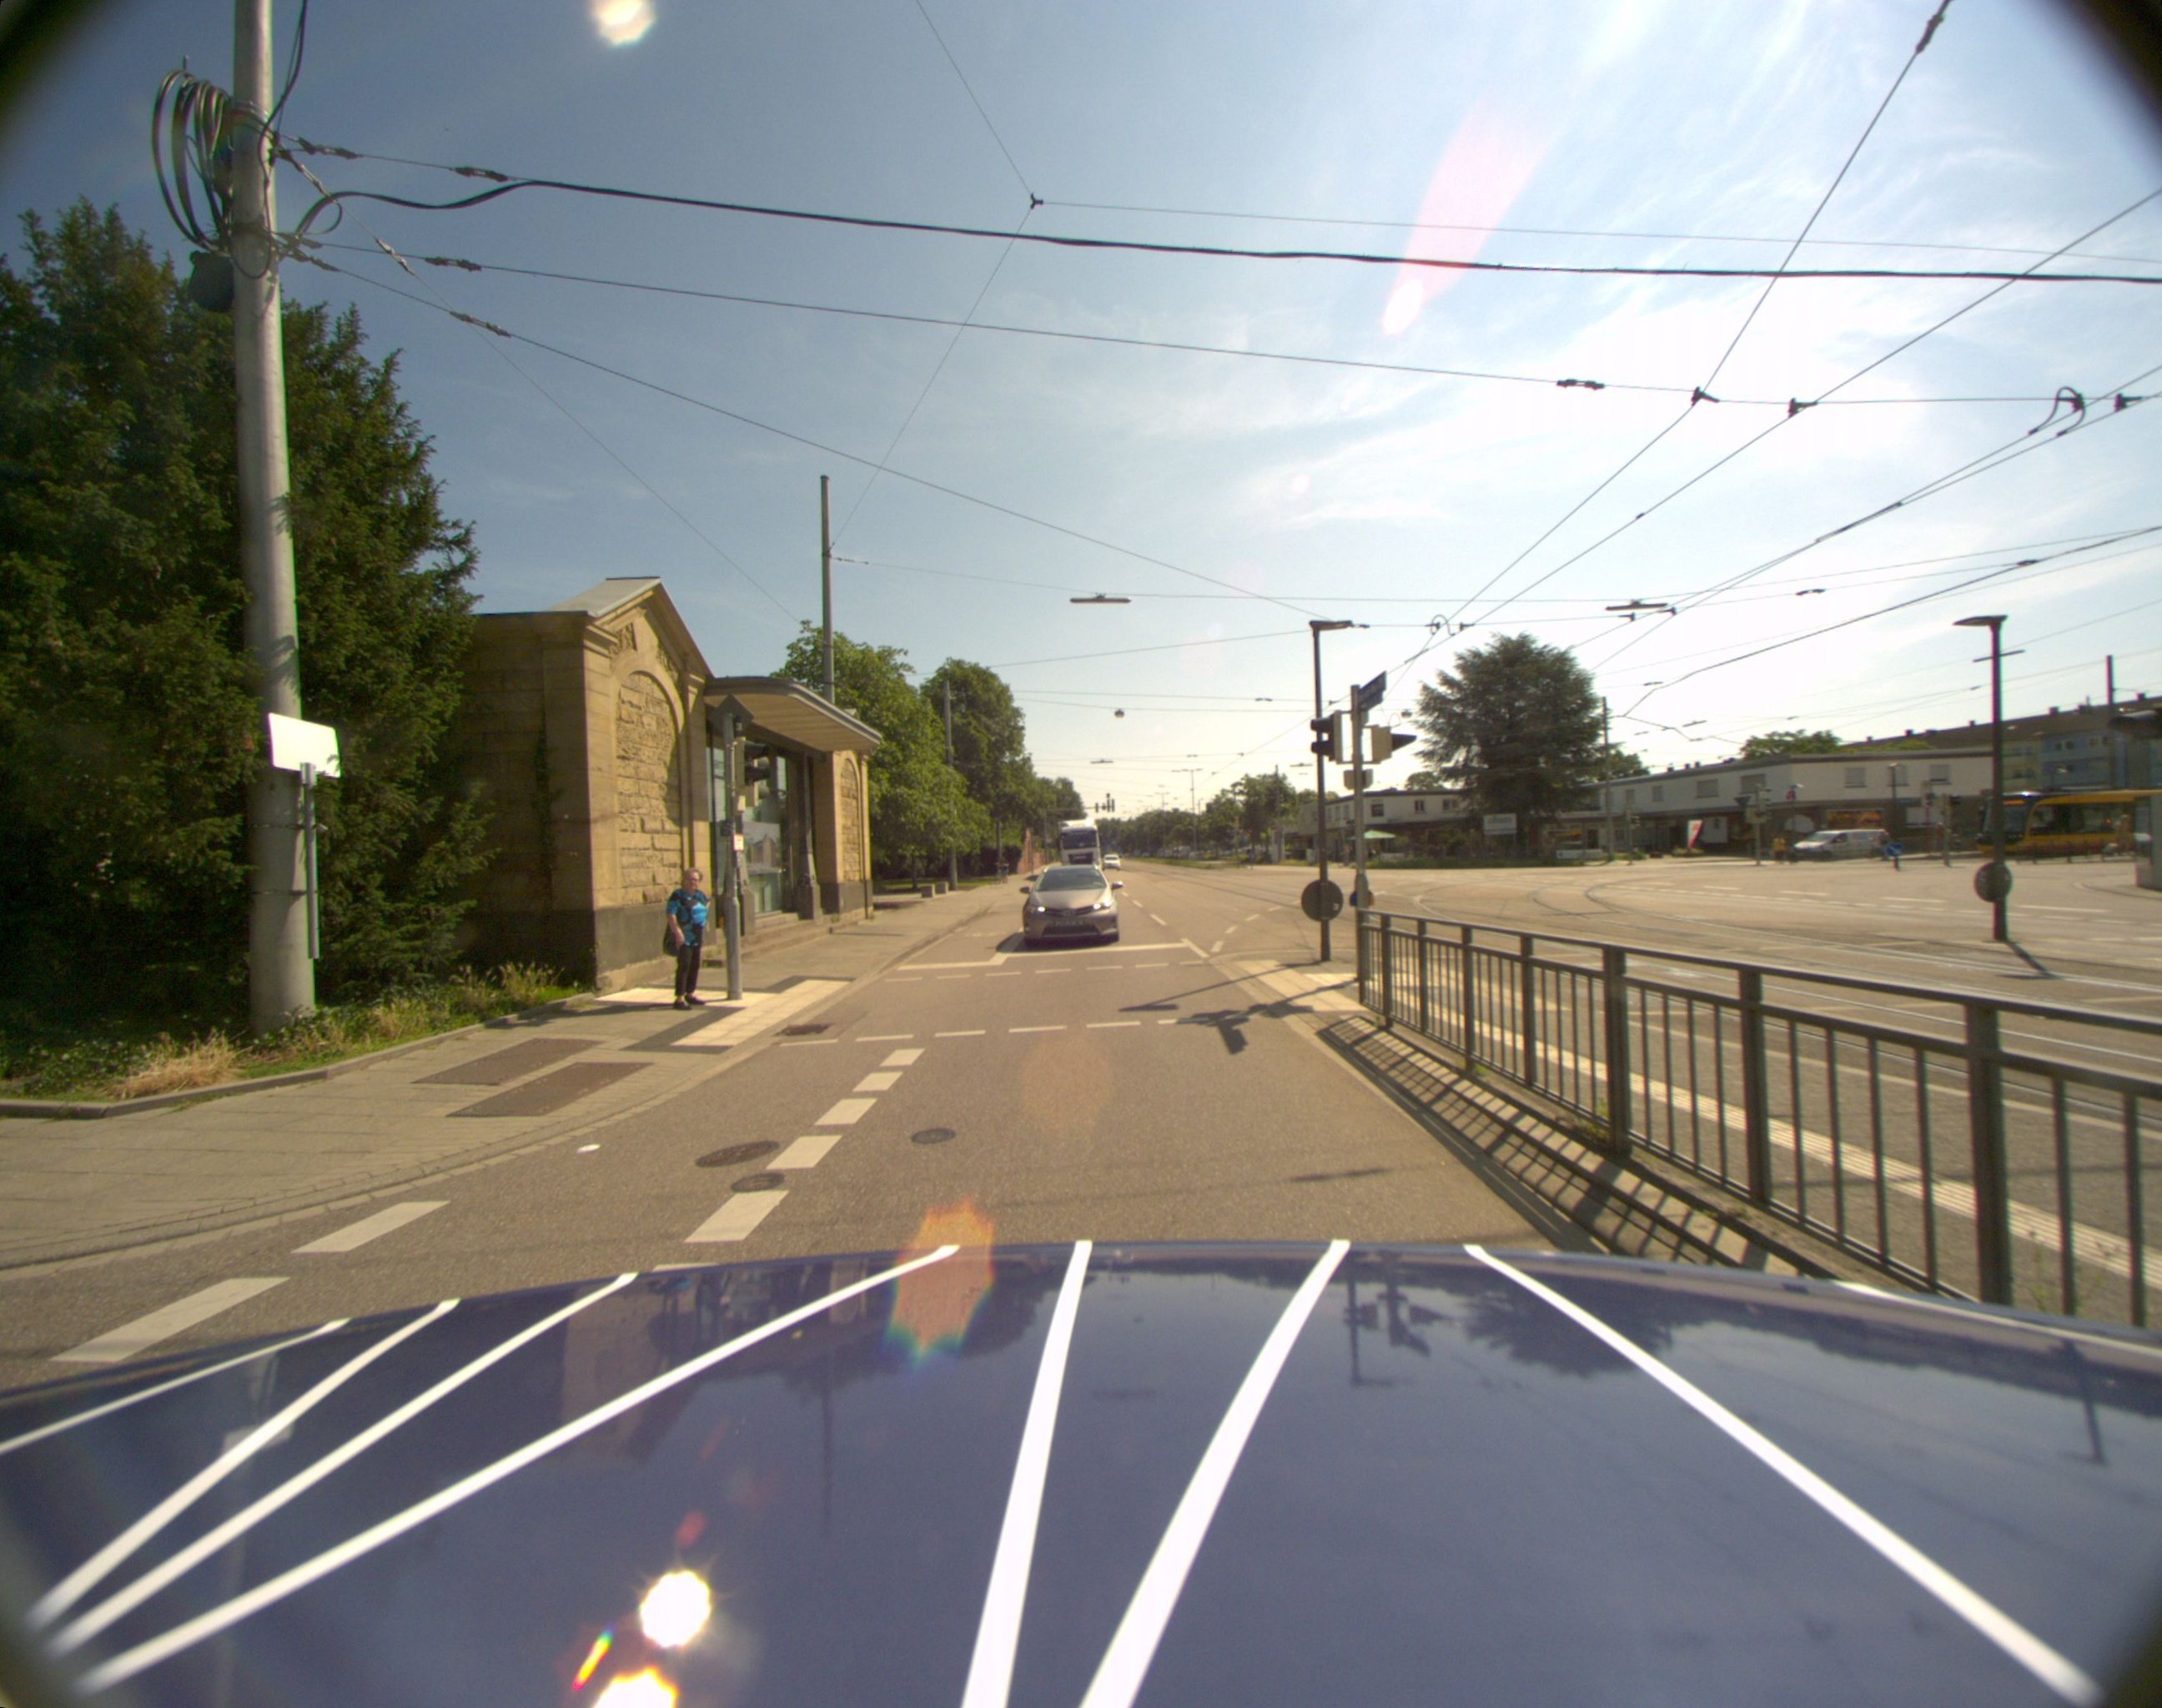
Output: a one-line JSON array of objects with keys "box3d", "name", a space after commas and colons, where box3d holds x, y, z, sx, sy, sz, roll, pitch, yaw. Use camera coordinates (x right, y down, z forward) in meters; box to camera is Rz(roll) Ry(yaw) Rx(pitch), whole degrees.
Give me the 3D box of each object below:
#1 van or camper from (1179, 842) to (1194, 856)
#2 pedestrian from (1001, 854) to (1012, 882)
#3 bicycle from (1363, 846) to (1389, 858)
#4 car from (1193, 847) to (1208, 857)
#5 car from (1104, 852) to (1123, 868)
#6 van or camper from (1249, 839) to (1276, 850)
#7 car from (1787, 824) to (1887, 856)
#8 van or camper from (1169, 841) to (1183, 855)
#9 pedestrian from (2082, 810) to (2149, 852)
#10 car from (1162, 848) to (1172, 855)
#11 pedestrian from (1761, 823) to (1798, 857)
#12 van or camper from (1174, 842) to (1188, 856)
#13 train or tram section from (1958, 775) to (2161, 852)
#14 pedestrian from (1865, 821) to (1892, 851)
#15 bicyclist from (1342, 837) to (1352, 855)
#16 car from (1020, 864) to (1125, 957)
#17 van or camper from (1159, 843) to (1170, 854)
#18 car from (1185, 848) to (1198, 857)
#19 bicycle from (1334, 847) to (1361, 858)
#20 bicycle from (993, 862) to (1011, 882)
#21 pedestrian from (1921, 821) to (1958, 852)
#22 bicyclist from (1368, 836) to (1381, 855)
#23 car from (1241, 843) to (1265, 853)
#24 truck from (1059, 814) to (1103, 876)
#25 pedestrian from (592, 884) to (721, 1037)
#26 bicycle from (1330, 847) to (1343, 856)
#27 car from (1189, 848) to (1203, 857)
[{"box3d": [20.113, -0.914, 145.235, 2.040, 2.617, 4.839, -2, 0, 0], "name": "van or camper"}, {"box3d": [-4.245, 0.789, 43.430, 0.542, 1.540, 0.663, 0, 1, 0], "name": "pedestrian"}, {"box3d": [24.777, -0.164, 63.921, 0.576, 0.885, 2.131, -2, 0, -29], "name": "bicycle"}, {"box3d": [20.310, -0.329, 129.096, 1.892, 1.486, 4.285, -5, 0, 1], "name": "car"}, {"box3d": [3.197, 0.597, 75.331, 1.770, 1.552, 4.067, -1, 0, 0], "name": "car"}, {"box3d": [44.532, -2.319, 186.710, 6.081, 2.715, 2.299, -2, 1, 2], "name": "van or camper"}, {"box3d": [48.286, -0.899, 48.588, 4.656, 1.851, 1.776, -2, 1, 0], "name": "car"}, {"box3d": [20.068, -1.241, 160.181, 2.128, 2.967, 5.281, -2, 0, 0], "name": "van or camper"}, {"box3d": [46.562, -1.026, 34.224, 1.437, 1.825, 1.123, -2, 1, 3], "name": "pedestrian"}, {"box3d": [20.563, -0.571, 181.529, 1.893, 1.551, 4.232, -2, 0, 0], "name": "car"}, {"box3d": [39.108, -0.782, 42.546, 1.201, 1.827, 0.896, -2, 1, 1], "name": "pedestrian"}, {"box3d": [20.027, -0.985, 152.290, 2.040, 2.617, 4.839, -2, 0, 0], "name": "van or camper"}, {"box3d": [54.169, -2.131, 39.503, 13.898, 3.637, 2.768, -2, 1, 0], "name": "train or tram section"}, {"box3d": [44.362, -0.995, 42.260, 0.659, 1.617, 0.785, -2, 1, 1], "name": "pedestrian"}, {"box3d": [22.894, -0.660, 65.420, 0.764, 1.549, 0.632, 0, 1, 15], "name": "bicyclist"}, {"box3d": [-0.135, 1.012, 15.468, 1.742, 1.424, 4.462, -4, 0, 0], "name": "car"}, {"box3d": [20.654, -1.358, 188.141, 2.114, 2.604, 5.451, -1, 1, 0], "name": "van or camper"}, {"box3d": [20.317, -0.268, 139.821, 1.893, 1.486, 4.232, -2, 0, 0], "name": "car"}, {"box3d": [22.918, -0.139, 65.354, 2.131, 0.941, 0.536, -2, 1, 23], "name": "bicycle"}, {"box3d": [-4.507, 1.011, 43.376, 0.537, 1.105, 1.808, -1, 1, 10], "name": "bicycle"}, {"box3d": [47.653, -0.982, 42.196, 1.093, 1.671, 0.813, -2, 1, 1], "name": "pedestrian"}, {"box3d": [24.778, -0.735, 64.053, 0.633, 1.565, 0.764, -2, 1, -34], "name": "bicyclist"}, {"box3d": [30.355, -1.026, 134.157, 3.749, 1.560, 1.950, -2, 0, -1], "name": "car"}, {"box3d": [0.021, -0.557, 51.827, 2.746, 3.852, 9.110, 0, 0, 0], "name": "truck"}, {"box3d": [-4.509, 1.105, 8.131, 0.780, 1.501, 0.859, -2, 1, 9], "name": "pedestrian"}, {"box3d": [28.033, -0.280, 83.432, 0.760, 0.977, 1.911, -2, 0, 0], "name": "bicycle"}, {"box3d": [20.412, -0.285, 135.080, 1.893, 1.551, 4.285, -2, 0, 0], "name": "car"}]
